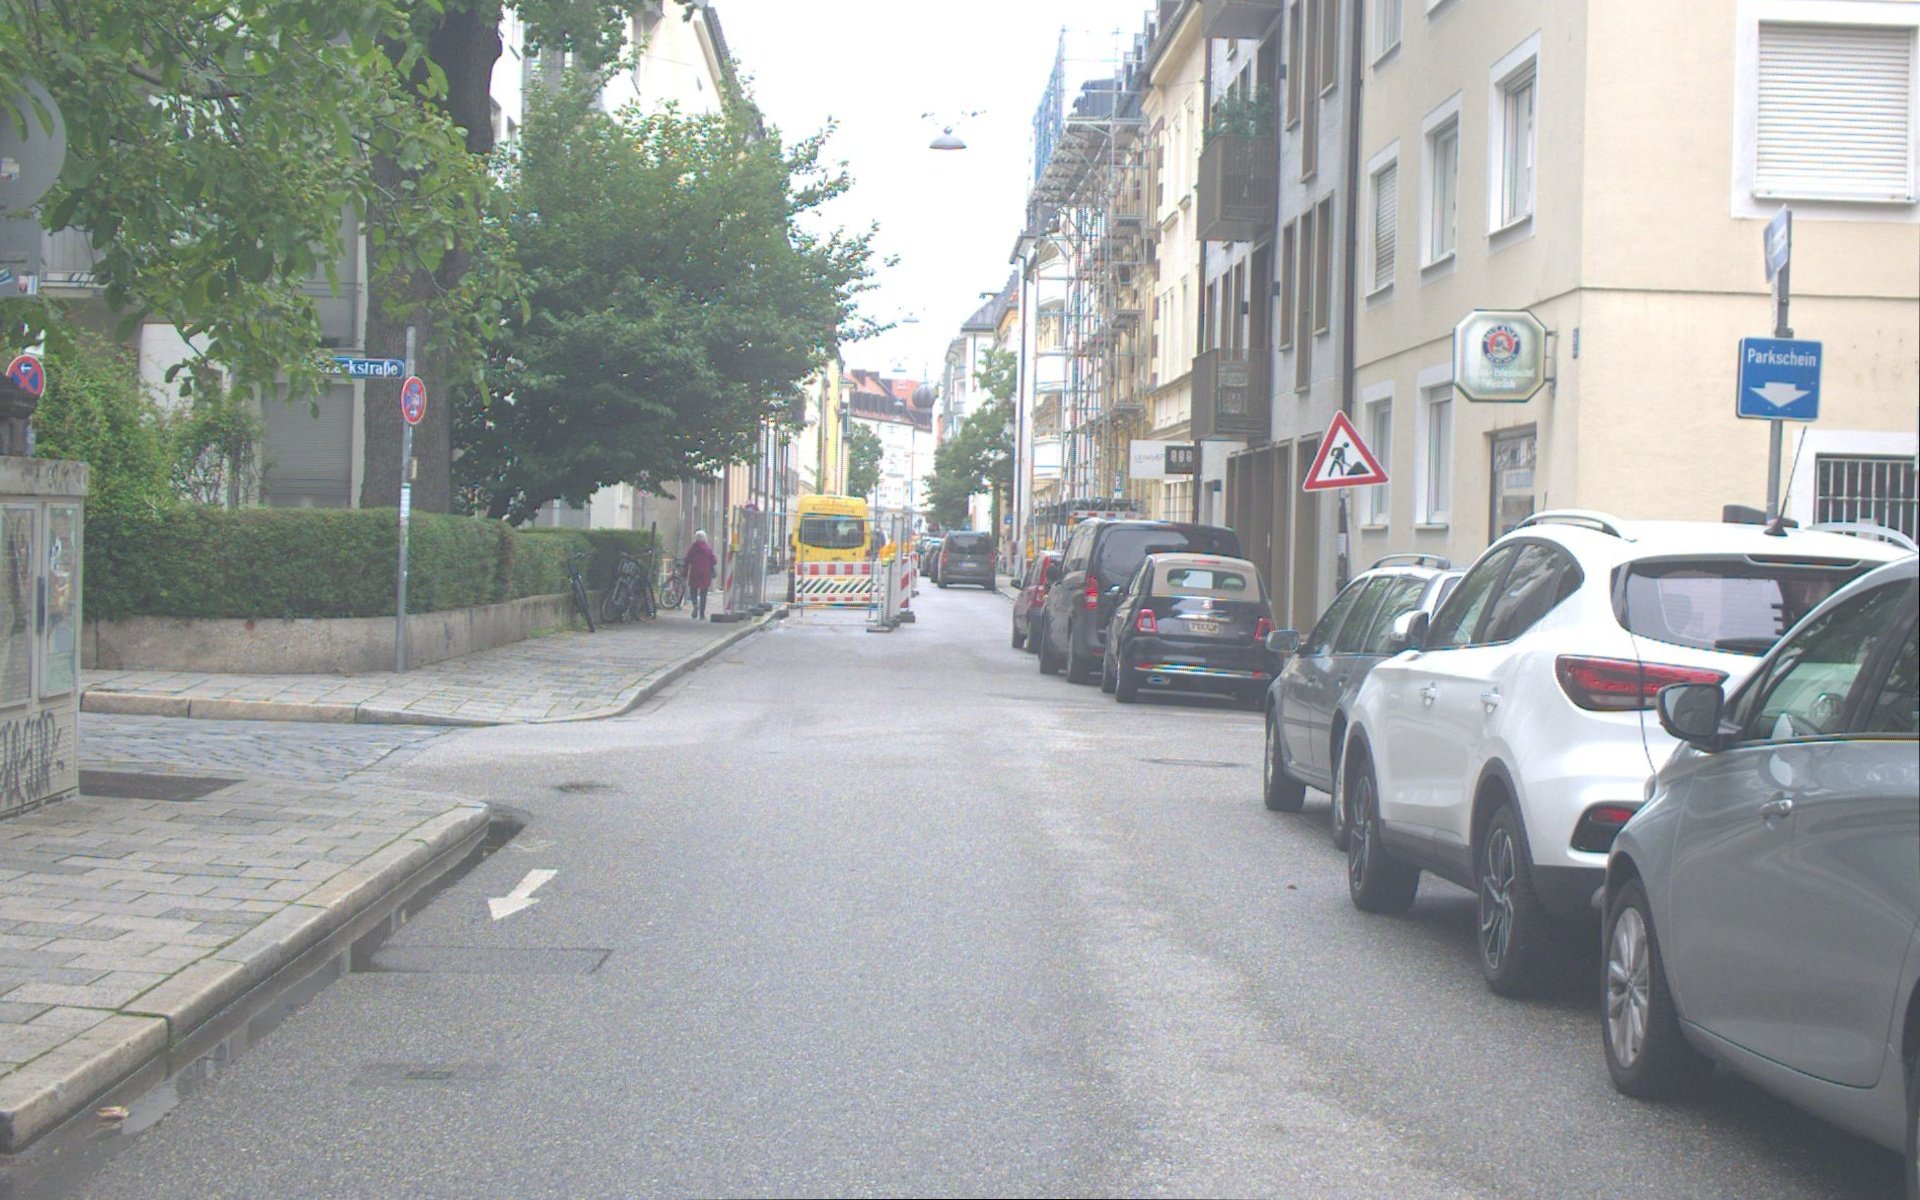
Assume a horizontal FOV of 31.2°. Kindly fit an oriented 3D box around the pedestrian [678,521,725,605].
[{"bbox_3d":[-4.606,-0.658,61.289,0.756,1.486,0.831,1,0,-1],"label":"pedestrian"}]

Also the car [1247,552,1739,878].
[{"bbox_3d":[2.655,0.511,18.034,1.744,1.440,4.001,2,1,-2],"label":"car"}]

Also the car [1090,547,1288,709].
[{"bbox_3d":[2.265,0.238,34.862,1.624,1.482,3.808,3,1,-1],"label":"car"}]

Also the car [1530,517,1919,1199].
[{"bbox_3d":[2.687,0.652,8.166,1.721,1.630,3.882,1,0,-4],"label":"car"}]

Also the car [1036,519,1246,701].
[{"bbox_3d":[2.007,0.066,39.218,1.801,1.814,4.001,5,1,-3],"label":"car"}]

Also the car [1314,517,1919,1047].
[{"bbox_3d":[2.554,0.538,12.812,1.748,1.624,4.197,1,1,-4],"label":"car"}]

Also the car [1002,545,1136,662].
[{"bbox_3d":[1.580,0.020,51.097,1.635,1.509,3.829,5,1,-2],"label":"car"}]

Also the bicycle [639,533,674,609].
[{"bbox_3d":[-5.790,-0.550,65.690,0.514,1.413,1.934,1,0,-2],"label":"bicycle"}]

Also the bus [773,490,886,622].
[{"bbox_3d":[-3.164,-1.077,84.822,2.592,3.091,6.306,1,0,-1],"label":"bus"}]

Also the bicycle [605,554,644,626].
[{"bbox_3d":[-5.156,-0.161,52.895,0.446,1.069,2.468,1,0,-3],"label":"bicycle"}]

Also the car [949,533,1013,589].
[{"bbox_3d":[0.698,-1.340,116.846,1.801,1.706,3.827,5,1,-3],"label":"car"}]

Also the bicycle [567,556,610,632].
[{"bbox_3d":[-5.113,-0.087,47.358,0.414,1.017,1.854,1,0,-2],"label":"bicycle"}]
